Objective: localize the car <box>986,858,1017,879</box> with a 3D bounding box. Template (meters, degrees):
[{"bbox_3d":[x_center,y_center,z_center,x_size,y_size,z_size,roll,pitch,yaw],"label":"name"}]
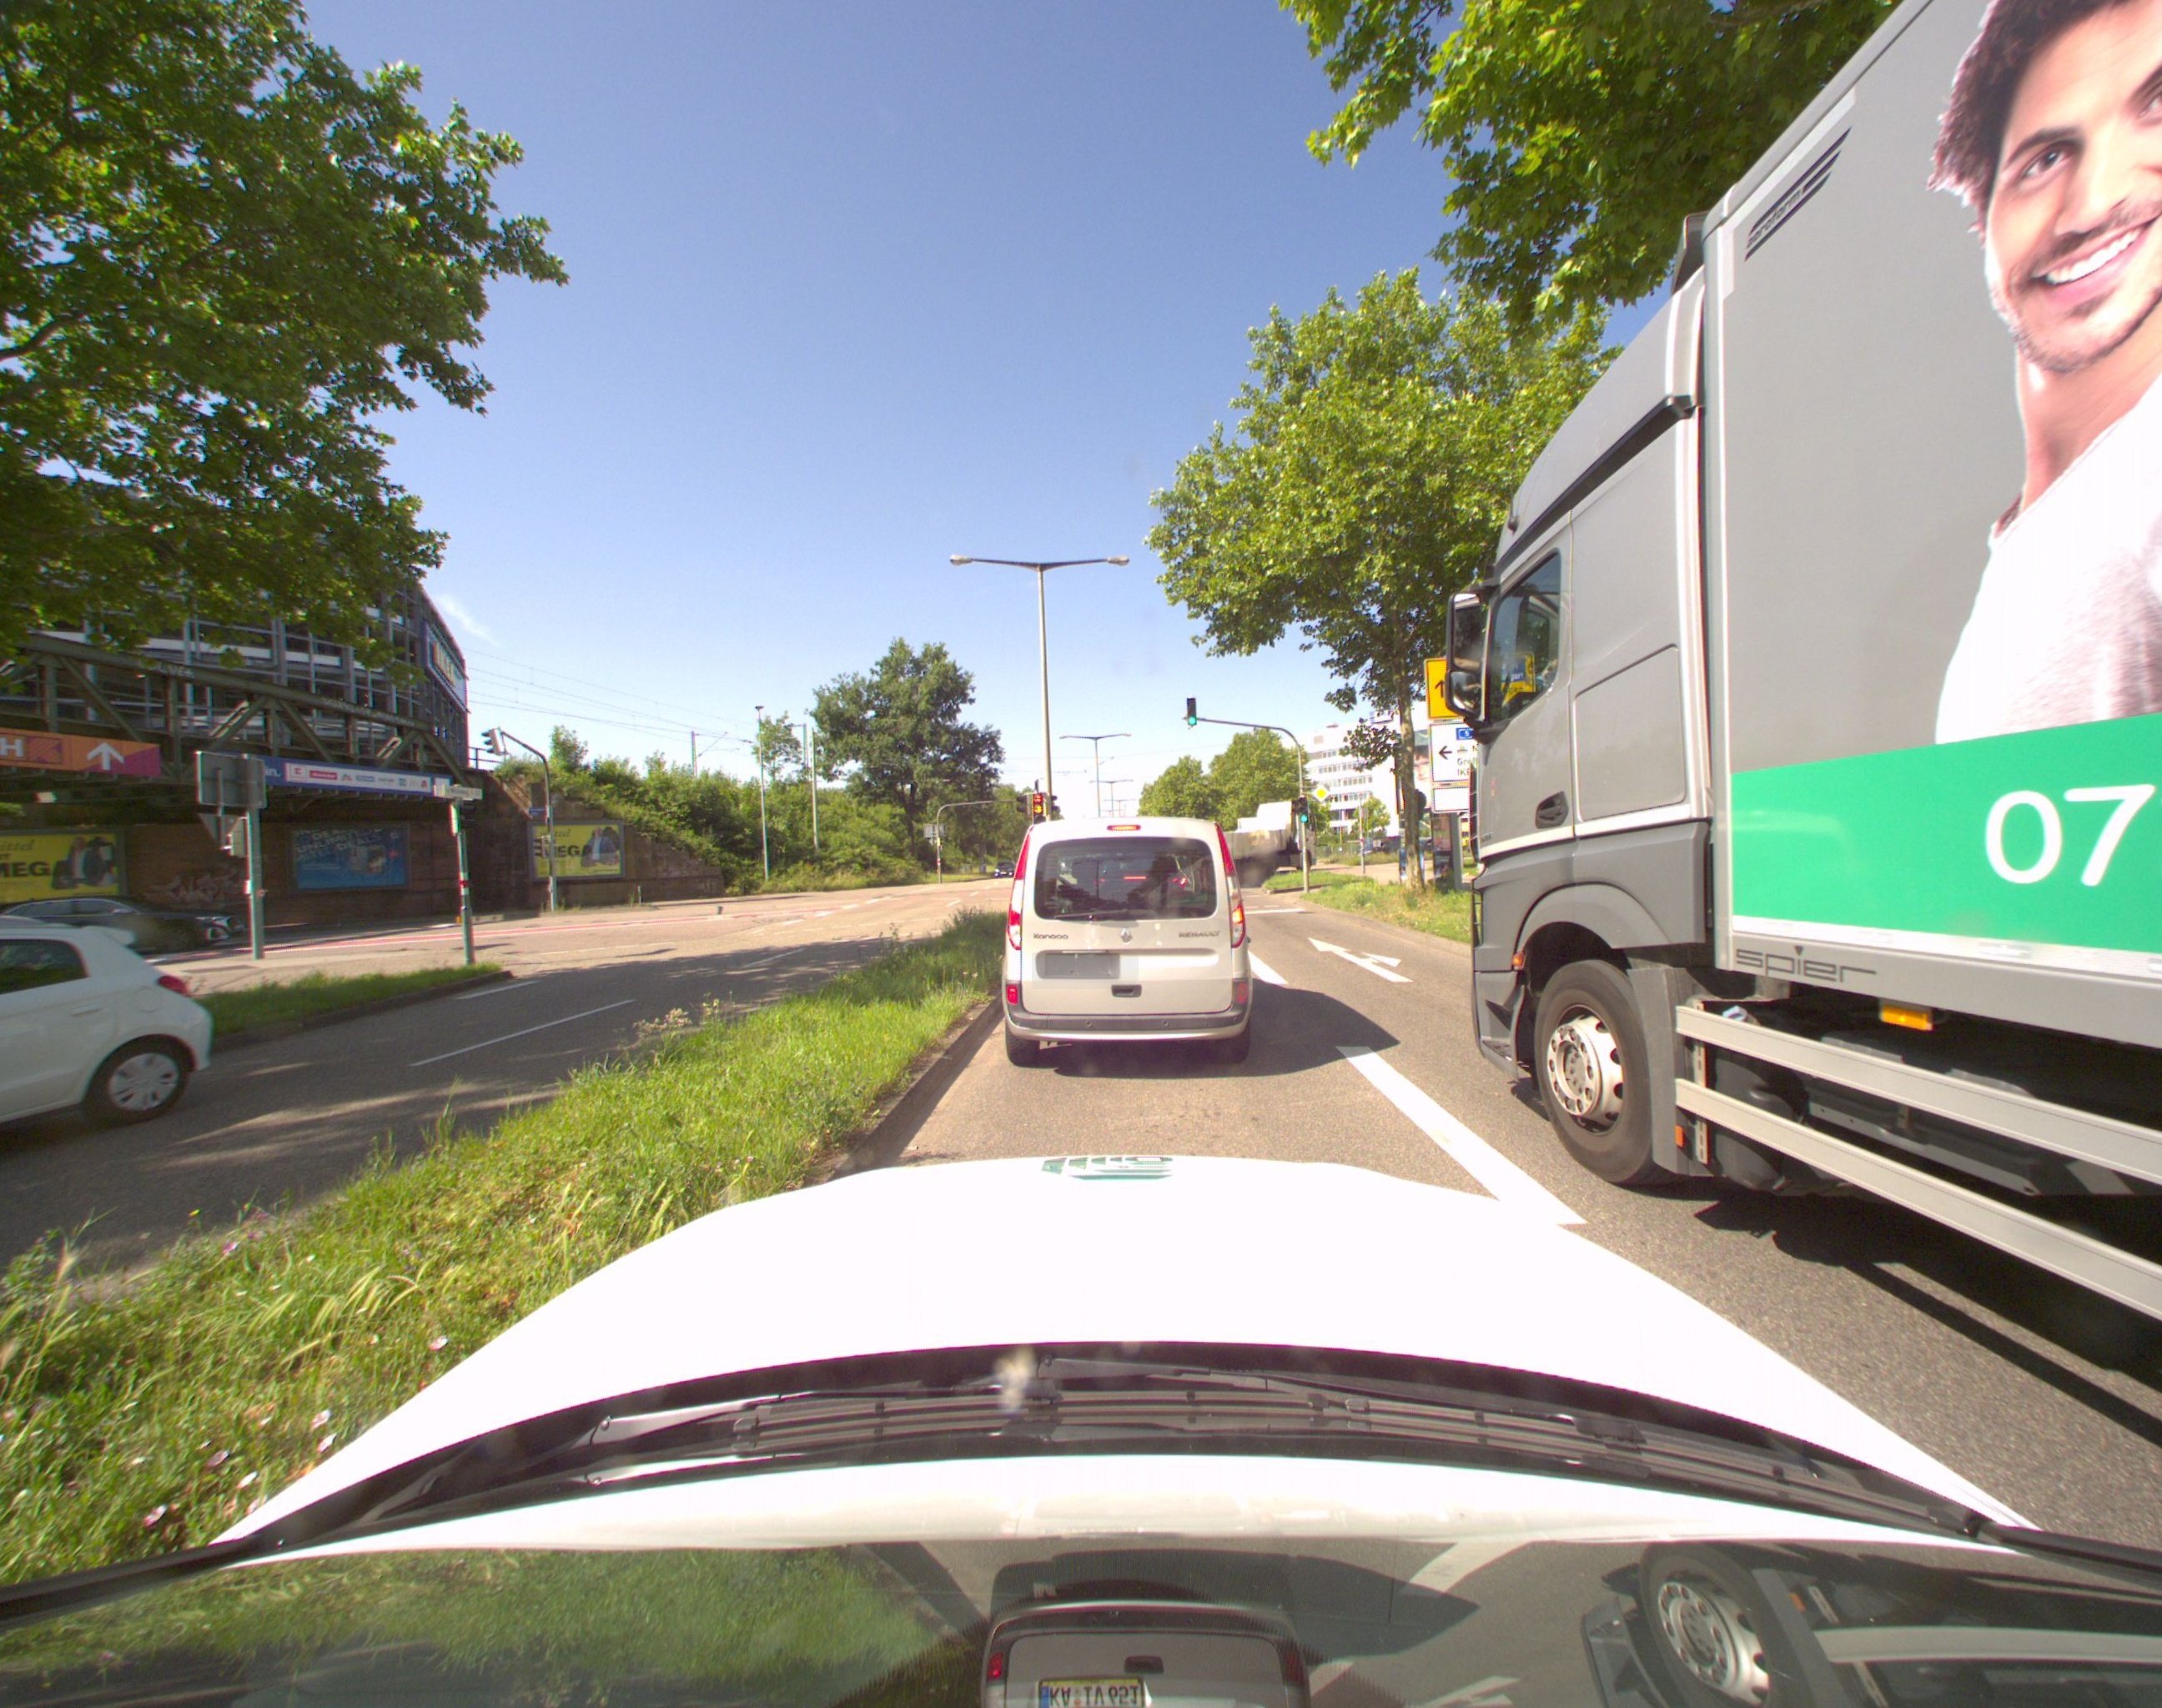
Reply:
[{"bbox_3d":[-6.748,1.198,69.290,1.902,1.641,3.742,-3,-1,5],"label":"car"}]

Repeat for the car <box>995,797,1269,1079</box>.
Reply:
[{"bbox_3d":[0.398,0.567,7.329,1.779,1.838,4.001,0,-1,2],"label":"car"}]

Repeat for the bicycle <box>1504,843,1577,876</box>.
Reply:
[{"bbox_3d":[15.076,0.186,26.786,1.985,1.014,0.624,-3,0,18],"label":"bicycle"}]

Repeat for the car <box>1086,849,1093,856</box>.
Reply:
[{"bbox_3d":[2.715,-0.372,250.248,1.880,2.014,4.004,0,-1,4],"label":"car"}]

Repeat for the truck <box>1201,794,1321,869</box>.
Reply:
[{"bbox_3d":[9.659,-1.079,43.177,2.883,3.643,7.232,-1,-1,43],"label":"truck"}]

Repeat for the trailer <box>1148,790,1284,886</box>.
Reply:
[{"bbox_3d":[6.554,-0.560,36.897,2.874,3.622,12.757,-1,-1,24],"label":"trailer"}]

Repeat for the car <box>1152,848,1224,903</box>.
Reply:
[{"bbox_3d":[3.326,0.648,26.068,1.868,1.591,4.435,0,0,2],"label":"car"}]

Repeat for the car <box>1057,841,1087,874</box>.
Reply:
[{"bbox_3d":[-0.754,0.312,69.869,1.984,2.607,5.140,-3,-1,5],"label":"car"}]

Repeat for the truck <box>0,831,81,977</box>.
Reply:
[{"bbox_3d":[-26.329,1.275,16.668,6.890,3.105,2.196,-4,1,-32],"label":"truck"}]

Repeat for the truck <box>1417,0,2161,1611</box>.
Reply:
[{"bbox_3d":[3.216,-0.610,0.721,2.717,3.889,8.732,-2,-1,4],"label":"truck"}]

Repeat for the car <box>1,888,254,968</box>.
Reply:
[{"bbox_3d":[-25.771,1.920,22.256,4.015,1.646,1.885,-4,1,-32],"label":"car"}]

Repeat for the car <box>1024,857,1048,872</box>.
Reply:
[{"bbox_3d":[-4.884,1.131,88.498,1.984,1.540,4.241,-3,-1,5],"label":"car"}]

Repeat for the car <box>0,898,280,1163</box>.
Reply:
[{"bbox_3d":[-7.450,1.163,4.624,1.693,1.508,4.002,-2,0,2],"label":"car"}]
